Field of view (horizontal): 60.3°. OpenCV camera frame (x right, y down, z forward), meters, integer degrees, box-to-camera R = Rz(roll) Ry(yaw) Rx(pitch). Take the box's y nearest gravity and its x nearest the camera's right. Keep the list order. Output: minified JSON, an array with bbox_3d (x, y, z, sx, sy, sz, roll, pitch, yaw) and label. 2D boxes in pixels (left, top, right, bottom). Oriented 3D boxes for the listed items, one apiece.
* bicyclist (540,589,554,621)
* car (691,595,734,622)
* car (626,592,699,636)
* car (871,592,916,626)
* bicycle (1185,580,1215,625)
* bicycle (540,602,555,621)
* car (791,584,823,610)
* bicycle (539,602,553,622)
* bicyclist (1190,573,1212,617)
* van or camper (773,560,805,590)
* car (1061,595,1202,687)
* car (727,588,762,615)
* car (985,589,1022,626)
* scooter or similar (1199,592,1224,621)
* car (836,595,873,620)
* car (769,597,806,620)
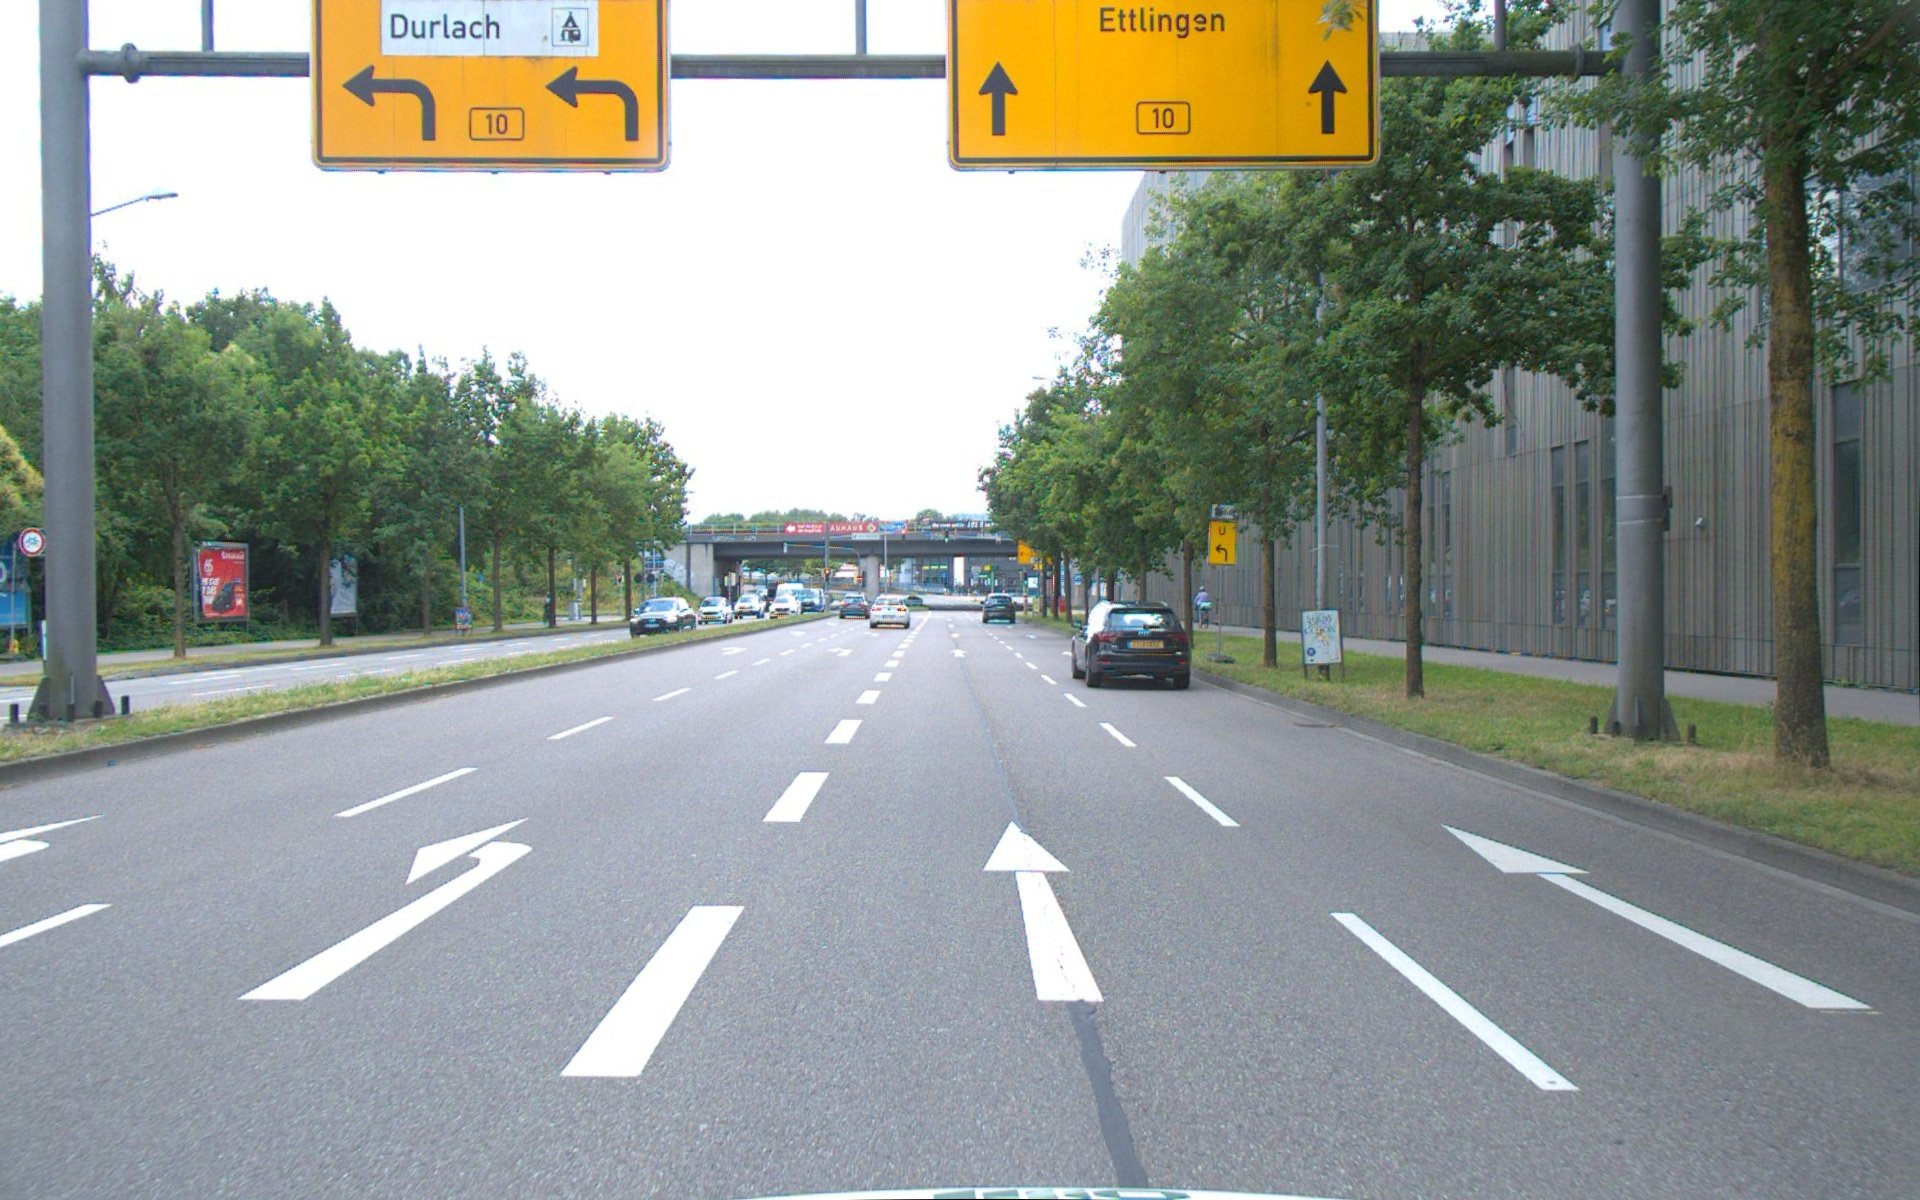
[{"bbox_3d":[-23.588,0.288,94.517,0.645,1.850,0.725,-1,0,-6],"label":"bicyclist"},{"bbox_3d":[-14.426,0.489,96.638,1.876,1.468,4.414,-3,0,-2],"label":"car"},{"bbox_3d":[-11.241,0.492,62.725,1.919,1.543,4.908,-1,0,-1],"label":"car"},{"bbox_3d":[-2.990,0.393,75.341,1.876,1.439,4.295,2,0,-1],"label":"car"},{"bbox_3d":[10.086,0.098,69.503,0.705,1.805,2.531,-1,0,-4],"label":"bicycle"},{"bbox_3d":[-23.571,0.644,94.487,0.536,1.070,1.836,-1,0,-5],"label":"bicycle"},{"bbox_3d":[-12.037,-0.252,130.692,2.146,1.998,5.192,-1,0,-2],"label":"car"},{"bbox_3d":[-23.558,0.699,94.153,0.500,1.126,1.842,1,0,-7],"label":"bicycle"},{"bbox_3d":[10.089,-0.200,69.342,0.701,1.800,0.988,-1,0,-4],"label":"bicyclist"},{"bbox_3d":[-14.968,-2.145,145.302,2.304,2.584,7.062,0,0,-2],"label":"van or camper"},{"bbox_3d":[2.948,0.661,29.372,1.953,1.414,4.575,1,1,-1],"label":"car"},{"bbox_3d":[-15.009,0.069,115.561,1.953,1.833,4.408,-1,0,-2],"label":"car"},{"bbox_3d":[2.449,0.409,94.551,1.953,2.073,4.712,-1,0,0],"label":"car"},{"bbox_3d":[11.336,0.274,74.555,0.690,1.268,2.479,-2,0,0],"label":"scooter or similar"},{"bbox_3d":[-6.416,0.437,101.183,1.953,1.440,4.831,1,0,-1],"label":"car"},{"bbox_3d":[-11.501,0.529,110.578,1.953,1.456,5.024,-1,0,0],"label":"car"}]
